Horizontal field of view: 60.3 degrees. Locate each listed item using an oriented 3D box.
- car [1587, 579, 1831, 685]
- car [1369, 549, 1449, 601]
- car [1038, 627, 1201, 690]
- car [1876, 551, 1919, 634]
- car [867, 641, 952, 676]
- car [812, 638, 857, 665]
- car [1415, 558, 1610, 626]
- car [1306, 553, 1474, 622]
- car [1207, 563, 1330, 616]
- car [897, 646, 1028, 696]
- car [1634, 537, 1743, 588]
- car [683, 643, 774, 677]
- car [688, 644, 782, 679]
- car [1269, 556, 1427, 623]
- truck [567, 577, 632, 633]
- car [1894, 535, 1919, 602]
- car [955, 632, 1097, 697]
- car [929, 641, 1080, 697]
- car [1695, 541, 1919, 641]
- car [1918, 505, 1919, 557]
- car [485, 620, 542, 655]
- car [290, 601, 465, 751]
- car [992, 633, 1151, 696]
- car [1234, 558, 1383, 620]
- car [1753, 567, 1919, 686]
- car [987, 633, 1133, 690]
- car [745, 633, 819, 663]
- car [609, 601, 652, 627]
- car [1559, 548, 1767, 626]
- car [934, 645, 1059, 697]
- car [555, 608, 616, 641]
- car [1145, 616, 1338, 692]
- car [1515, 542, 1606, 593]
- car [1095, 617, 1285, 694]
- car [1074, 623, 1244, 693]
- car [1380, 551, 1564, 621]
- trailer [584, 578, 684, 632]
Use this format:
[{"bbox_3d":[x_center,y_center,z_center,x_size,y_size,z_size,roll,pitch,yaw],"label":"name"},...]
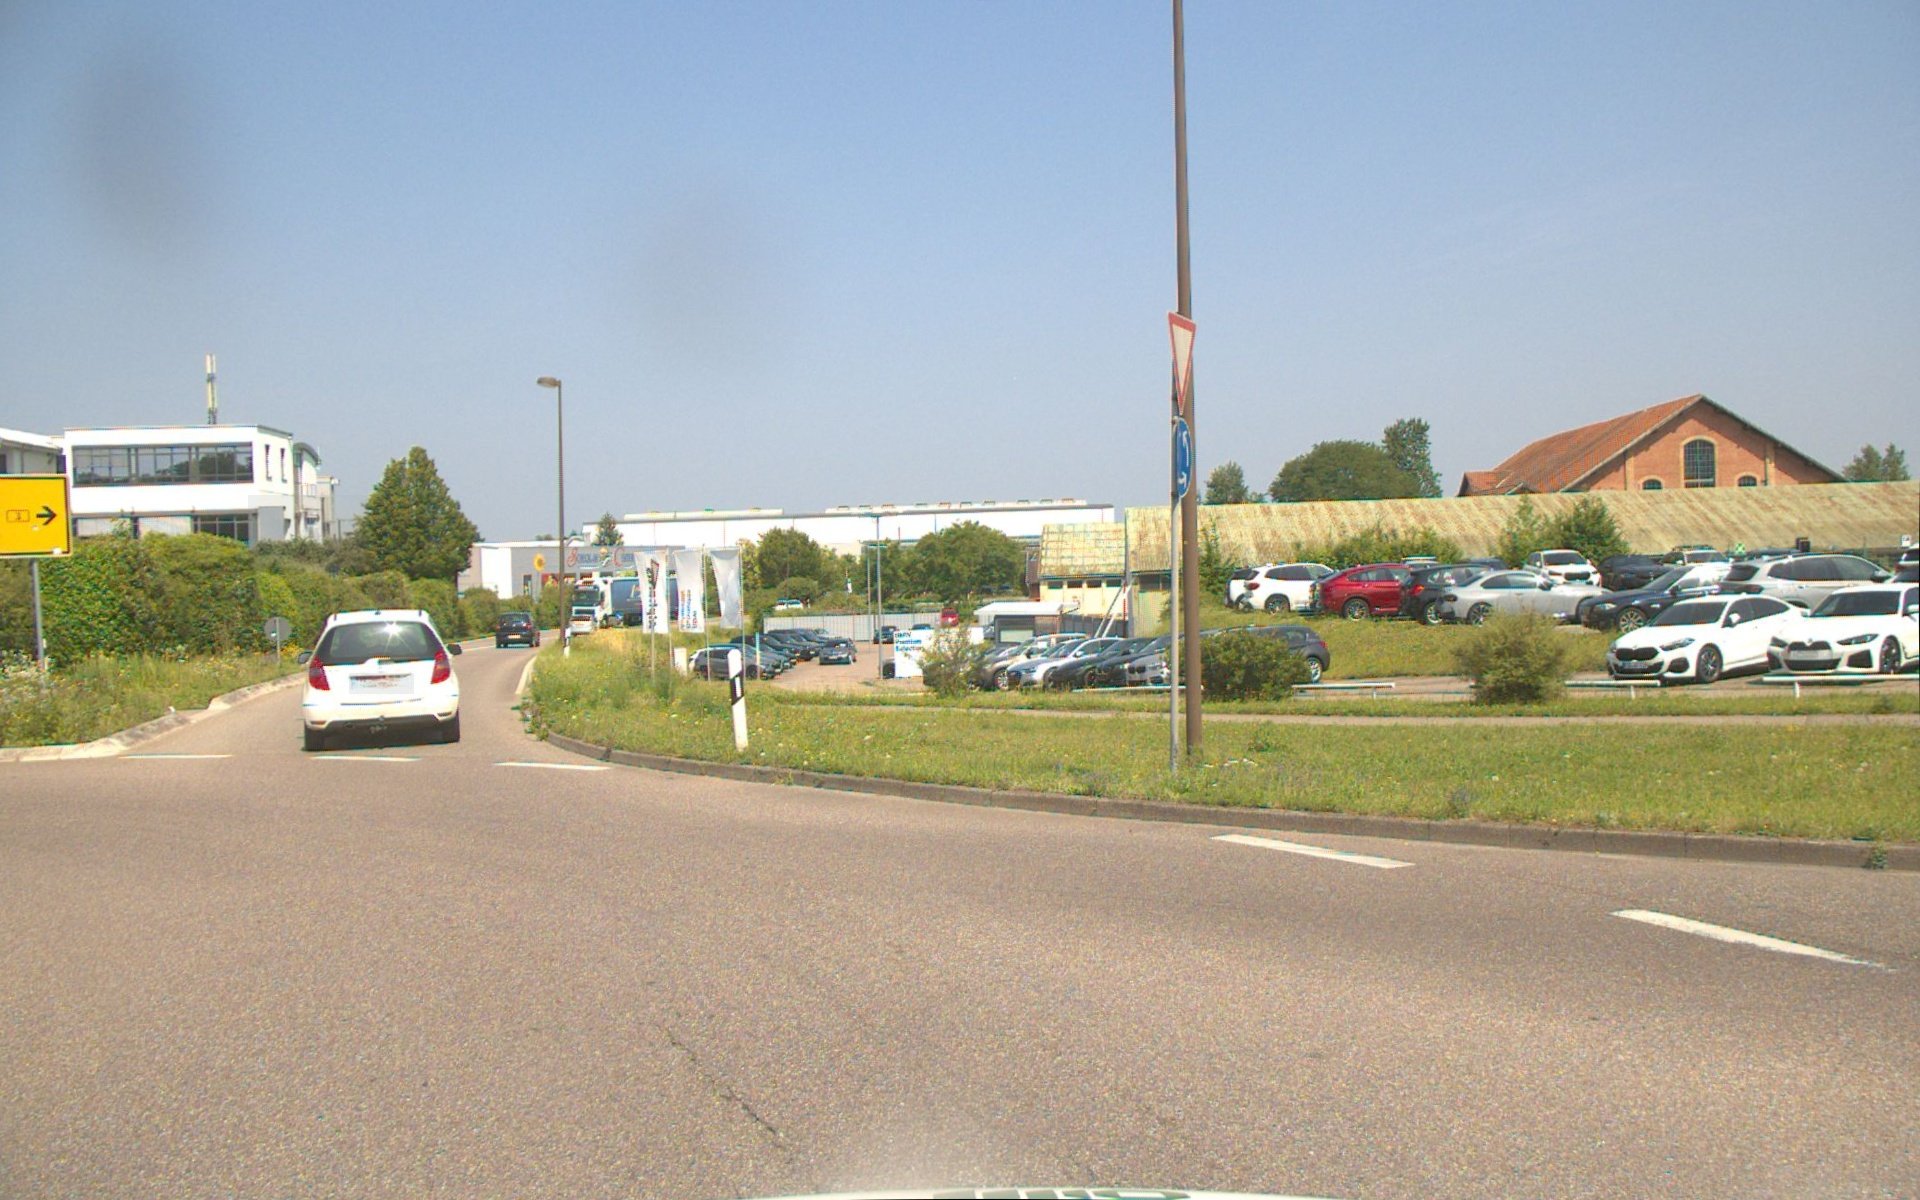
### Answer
[{"bbox_3d":[13.600,0.558,29.964,4.518,1.598,1.749,-3,0,-32],"label":"car"},{"bbox_3d":[15.422,-0.852,57.008,1.876,1.624,4.307,-2,0,5],"label":"car"},{"bbox_3d":[4.575,1.695,47.551,4.181,1.437,1.914,-4,-2,-17],"label":"car"},{"bbox_3d":[20.321,-0.262,32.125,3.913,1.525,1.951,-4,2,3],"label":"car"},{"bbox_3d":[-2.483,2.876,81.201,3.873,1.550,1.753,-2,-1,10],"label":"car"},{"bbox_3d":[-7.405,3.021,97.913,2.091,1.483,4.533,-1,-1,3],"label":"car"},{"bbox_3d":[14.163,-0.217,42.576,4.361,1.526,1.950,-3,1,3],"label":"car"},{"bbox_3d":[12.404,-0.367,47.902,4.361,1.777,1.950,-3,0,3],"label":"car"},{"bbox_3d":[10.276,-0.359,55.270,3.794,1.559,1.769,-3,0,3],"label":"car"},{"bbox_3d":[0.077,2.624,61.537,4.415,1.669,2.134,-1,-2,-21],"label":"car"},{"bbox_3d":[25.375,-1.277,57.791,2.142,1.624,4.307,-2,0,5],"label":"car"},{"bbox_3d":[-11.321,2.935,81.009,4.071,1.550,1.752,-1,-1,18],"label":"car"},{"bbox_3d":[-10.572,2.889,77.720,4.074,1.550,1.690,-1,-1,23],"label":"car"},{"bbox_3d":[11.748,-0.320,50.273,4.361,1.777,1.840,-3,0,3],"label":"car"},{"bbox_3d":[-29.240,0.382,134.446,2.459,4.332,6.117,-2,0,15],"label":"truck"},{"bbox_3d":[24.871,-0.861,41.539,1.628,1.613,4.245,-2,1,41],"label":"car"},{"bbox_3d":[2.152,2.122,54.392,4.181,1.778,1.991,-4,-2,-17],"label":"car"},{"bbox_3d":[1.495,2.352,56.357,4.691,1.534,1.991,-4,-2,-17],"label":"car"},{"bbox_3d":[17.798,-0.205,34.603,3.913,1.780,1.950,-4,1,3],"label":"car"},{"bbox_3d":[30.740,-2.147,48.278,4.359,1.549,1.951,-3,0,7],"label":"car"},{"bbox_3d":[-19.809,1.652,73.549,1.794,1.496,4.403,-1,-1,-7],"label":"car"},{"bbox_3d":[-7.307,0.879,20.546,1.758,1.631,3.864,-1,-1,-24],"label":"car"},{"bbox_3d":[3.374,1.942,49.943,4.365,1.490,1.908,-4,-2,-25],"label":"car"},{"bbox_3d":[11.126,-0.349,52.989,4.361,1.777,1.840,-3,0,3],"label":"car"},{"bbox_3d":[15.448,0.390,27.954,4.618,1.597,1.745,-6,2,-37],"label":"car"},{"bbox_3d":[3.158,1.947,52.525,4.181,1.491,1.865,-3,-2,-17],"label":"car"},{"bbox_3d":[-10.998,2.971,101.951,4.139,1.730,1.917,-1,2,27],"label":"car"},{"bbox_3d":[-26.322,1.109,132.287,1.951,2.049,4.003,-1,-1,13],"label":"car"},{"bbox_3d":[15.767,-0.300,37.266,3.910,1.553,1.951,-2,1,9],"label":"car"},{"bbox_3d":[1.278,2.524,58.660,3.930,1.579,1.988,-3,-2,-21],"label":"car"},{"bbox_3d":[-23.912,1.578,105.798,1.952,2.049,4.001,-1,-1,19],"label":"car"},{"bbox_3d":[6.871,1.302,40.264,4.512,1.446,1.765,-4,-2,-31],"label":"car"},{"bbox_3d":[20.903,-1.111,57.698,1.876,1.624,4.307,-2,0,5],"label":"car"},{"bbox_3d":[5.973,1.431,42.921,4.502,1.593,1.907,-4,-2,-26],"label":"car"},{"bbox_3d":[5.455,1.590,45.373,4.196,1.508,1.907,-4,-2,-25],"label":"car"},{"bbox_3d":[13.813,-0.380,44.827,4.361,1.663,1.950,-3,0,3],"label":"car"},{"bbox_3d":[-27.582,0.459,141.033,2.613,4.315,14.577,-1,-1,13],"label":"trailer"}]
